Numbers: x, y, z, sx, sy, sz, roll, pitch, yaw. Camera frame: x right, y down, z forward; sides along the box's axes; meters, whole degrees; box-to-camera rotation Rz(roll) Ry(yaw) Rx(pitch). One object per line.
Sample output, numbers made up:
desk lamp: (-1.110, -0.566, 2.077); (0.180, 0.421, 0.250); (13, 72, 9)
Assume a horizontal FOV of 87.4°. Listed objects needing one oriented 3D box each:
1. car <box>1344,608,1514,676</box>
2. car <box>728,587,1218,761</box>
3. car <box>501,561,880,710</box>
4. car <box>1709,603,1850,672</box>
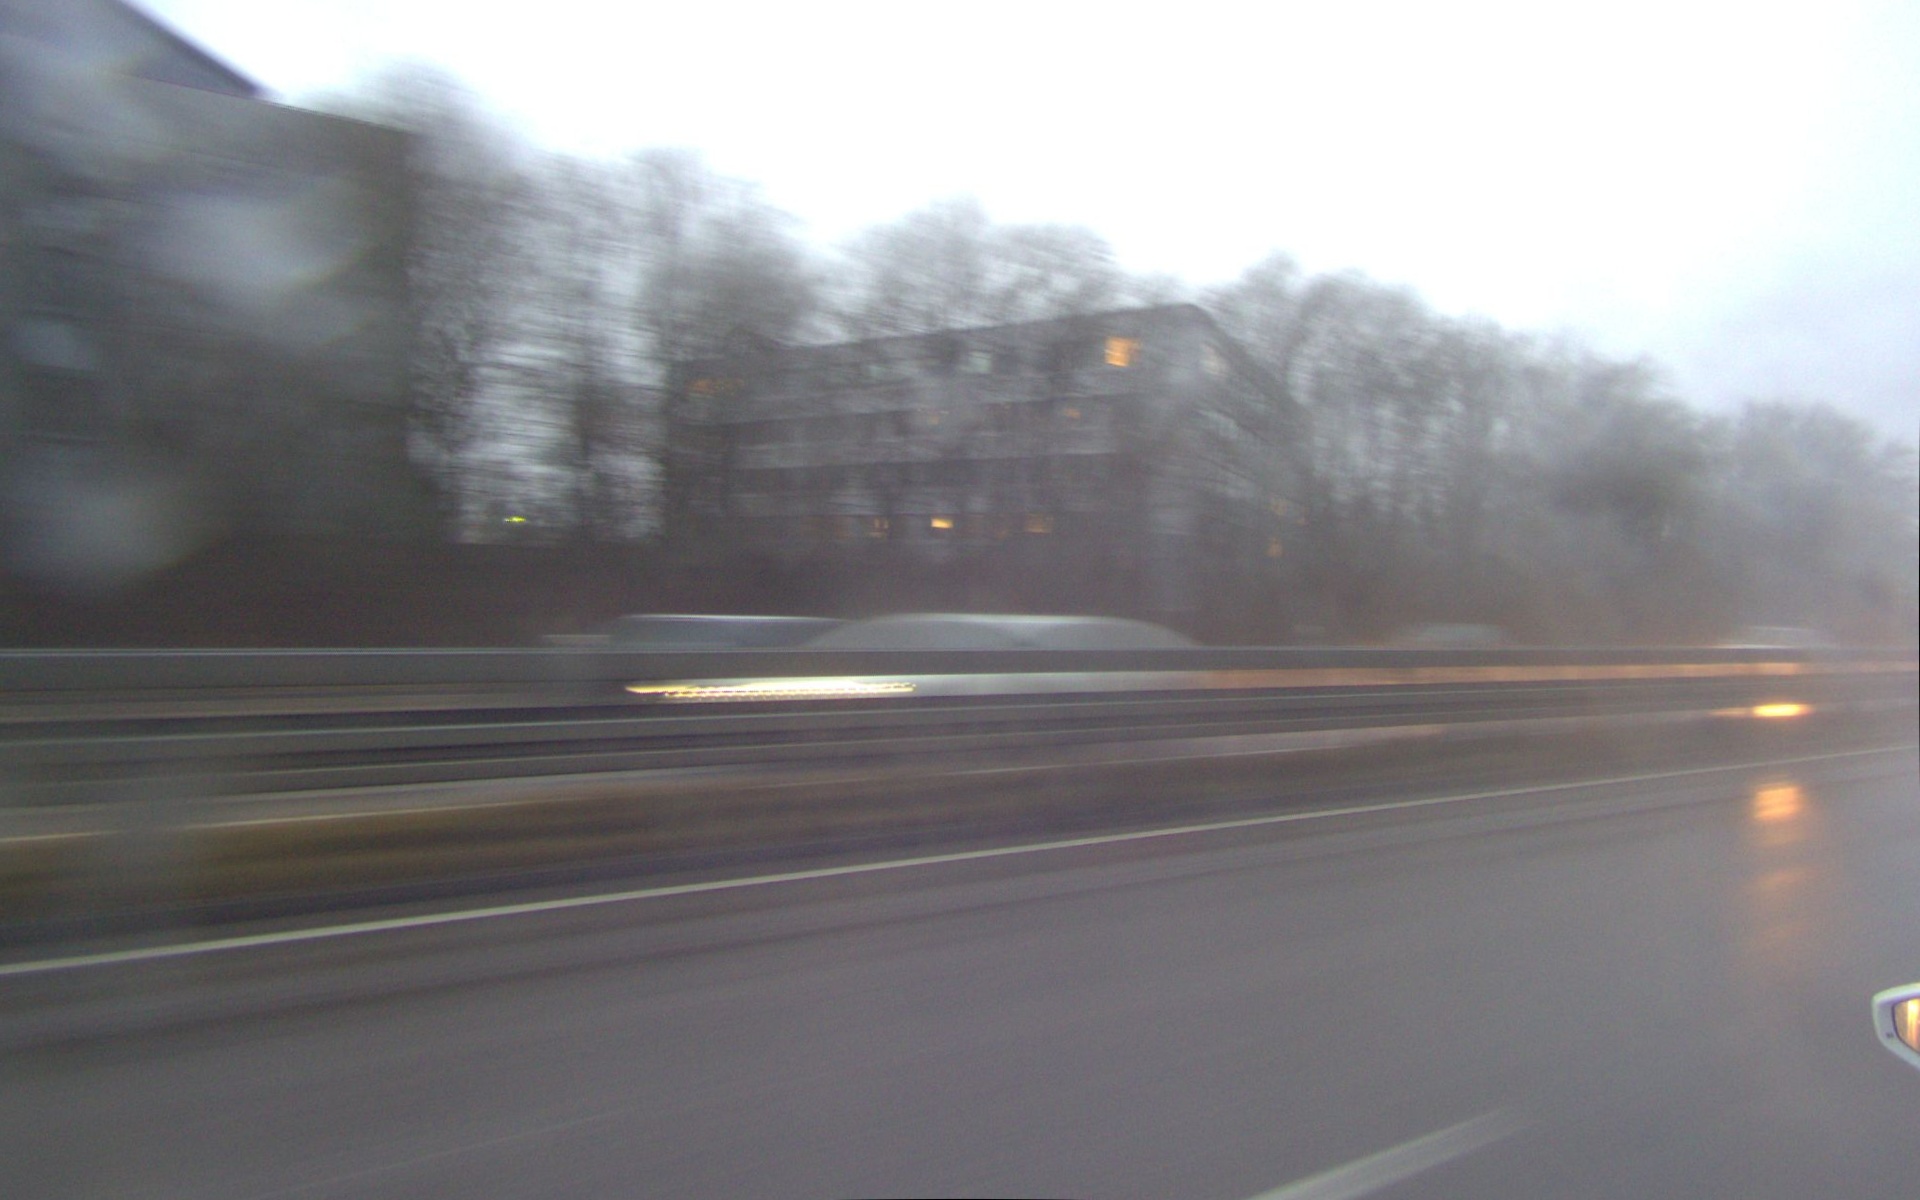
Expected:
car: (12.715, 1.110, 27.186); (4.419, 1.701, 1.985); (1, -1, -29)
car: (0.236, 0.728, 11.509); (5.308, 1.547, 1.985); (1, 3, -29)
car: (-3.759, 0.450, 14.127); (4.831, 1.777, 1.988); (1, 3, -24)
car: (23.778, 1.067, 29.139); (3.892, 1.777, 1.744); (1, 3, -29)
